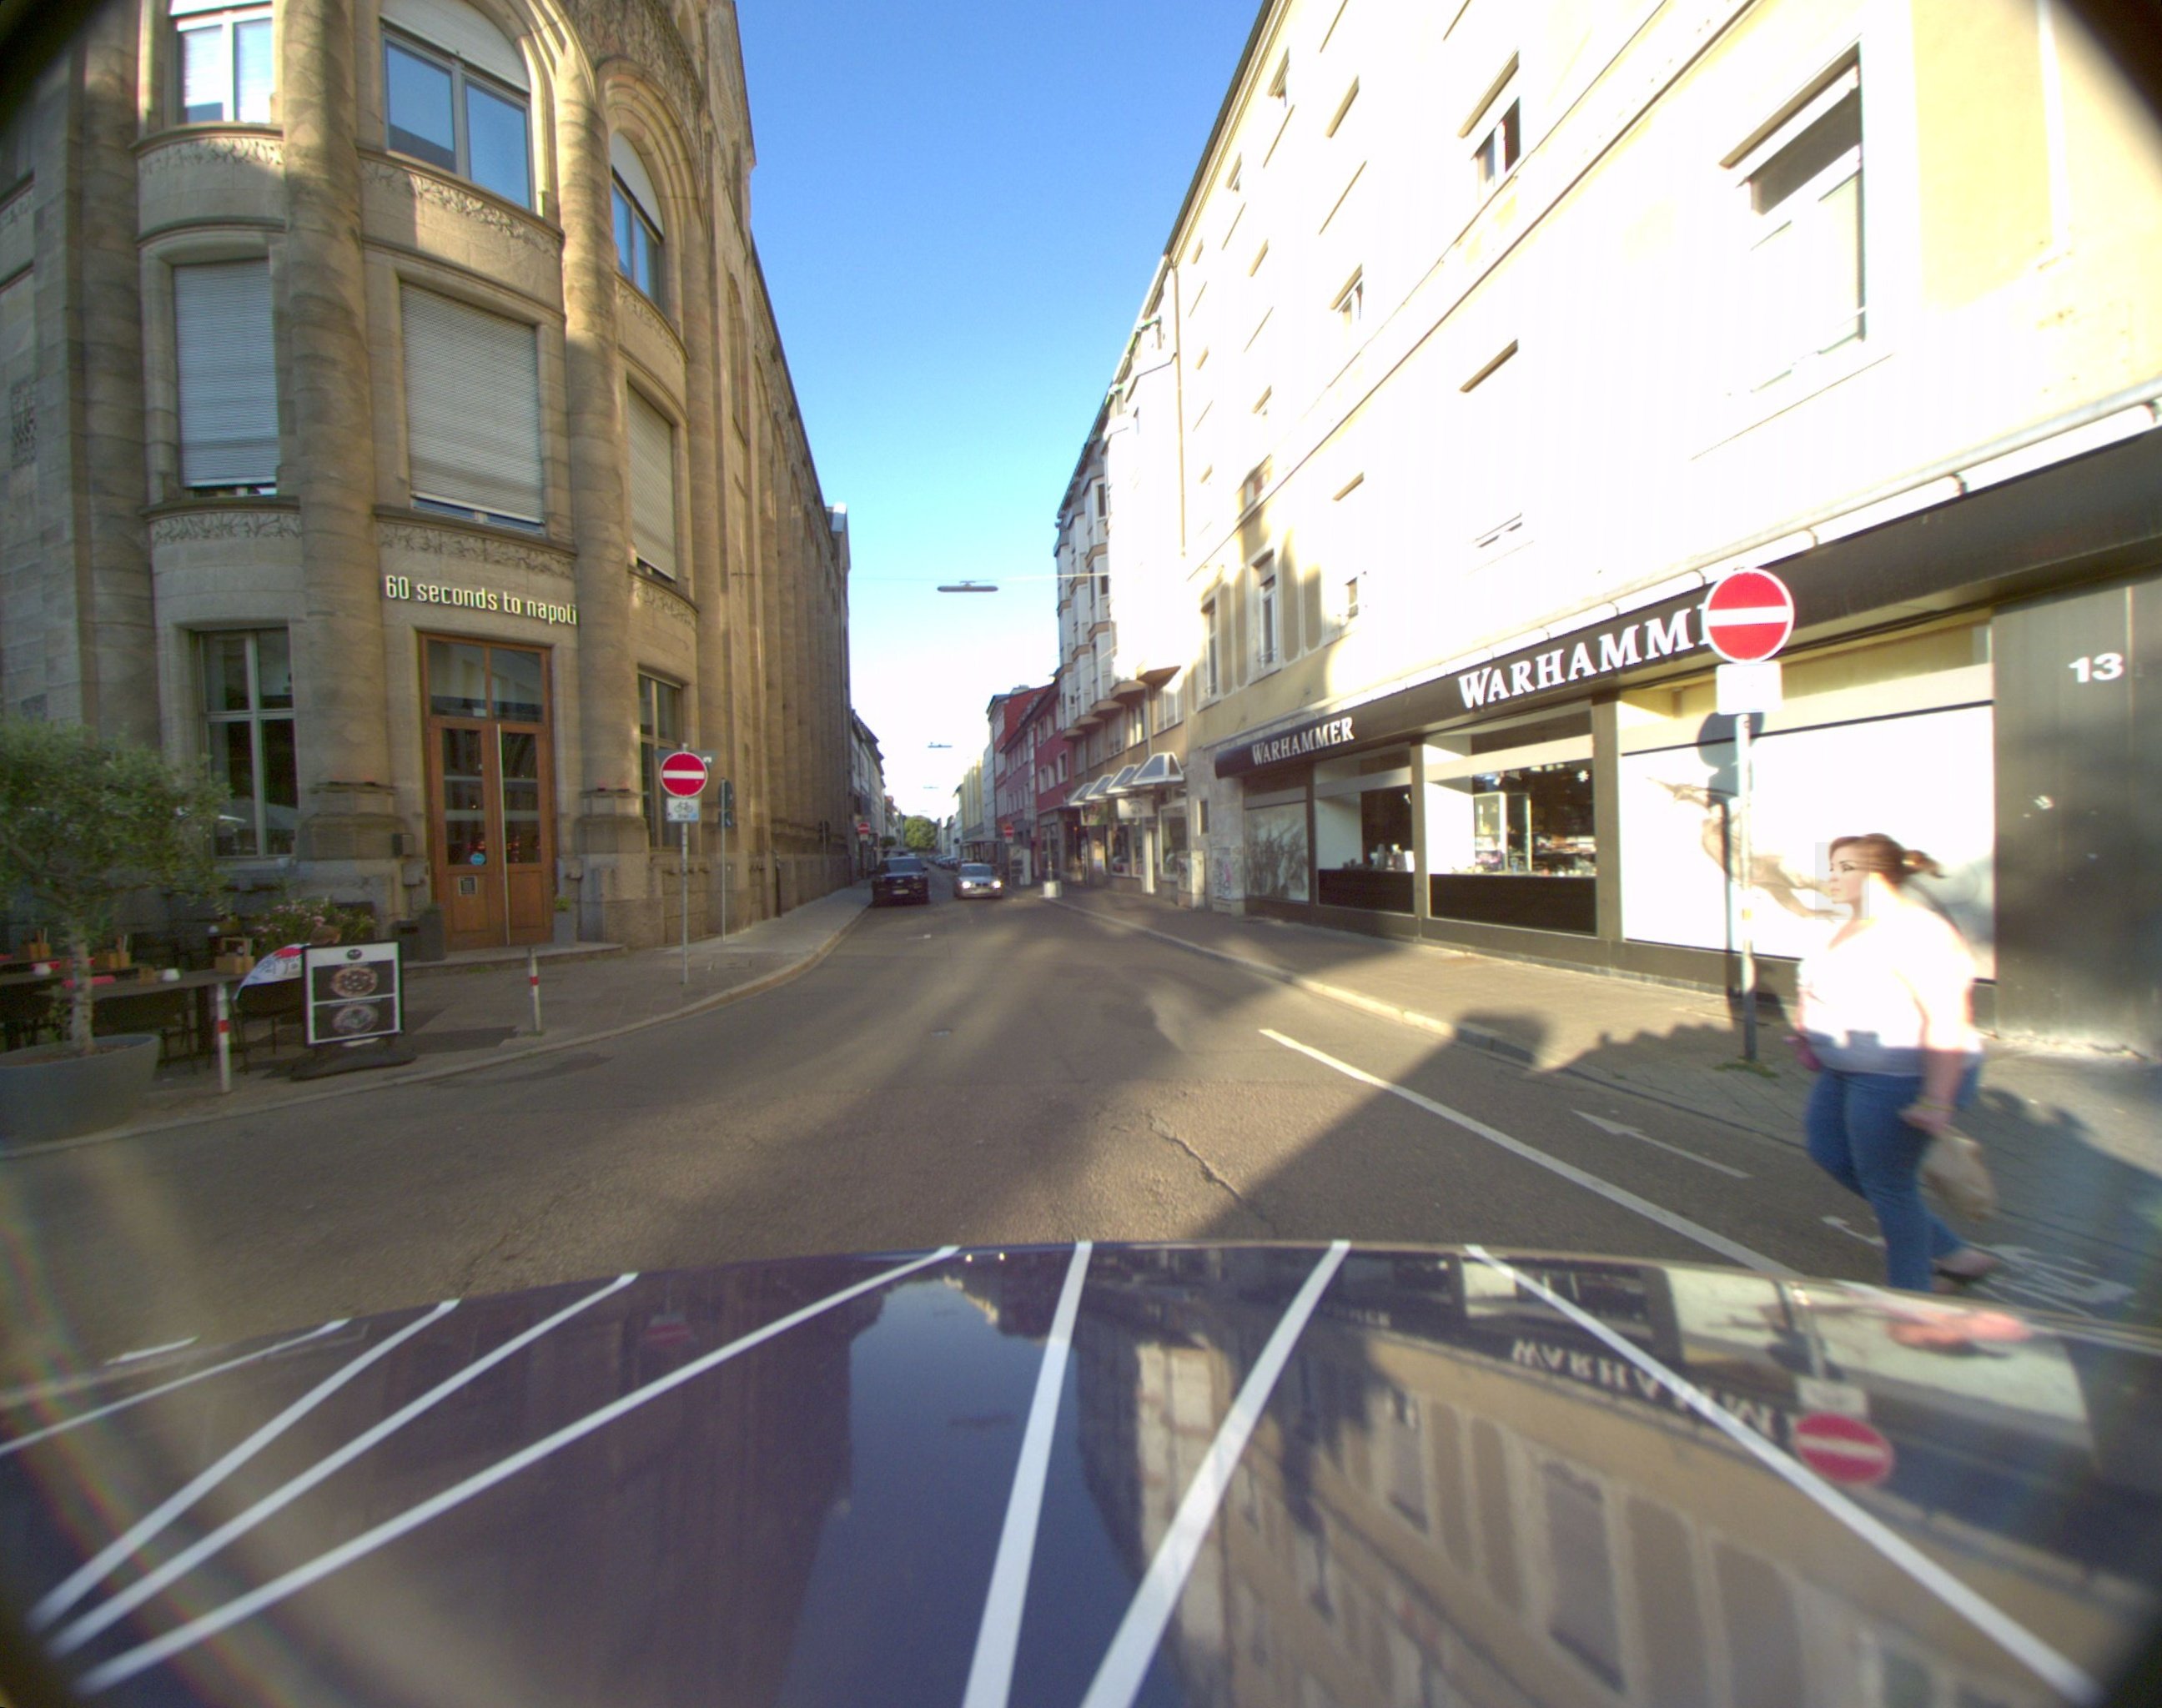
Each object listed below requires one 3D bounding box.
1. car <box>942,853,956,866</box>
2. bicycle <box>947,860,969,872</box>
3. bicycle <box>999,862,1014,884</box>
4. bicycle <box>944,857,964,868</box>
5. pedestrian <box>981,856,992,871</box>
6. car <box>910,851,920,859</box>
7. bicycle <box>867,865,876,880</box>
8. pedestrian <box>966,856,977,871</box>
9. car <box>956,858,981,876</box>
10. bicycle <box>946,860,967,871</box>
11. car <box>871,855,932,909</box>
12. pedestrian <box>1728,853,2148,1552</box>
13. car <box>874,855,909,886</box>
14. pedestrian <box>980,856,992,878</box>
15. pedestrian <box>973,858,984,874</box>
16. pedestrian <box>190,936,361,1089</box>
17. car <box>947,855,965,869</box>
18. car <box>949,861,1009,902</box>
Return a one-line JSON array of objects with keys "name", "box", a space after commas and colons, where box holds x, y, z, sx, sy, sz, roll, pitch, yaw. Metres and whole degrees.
[{"name": "car", "box": [-22.134, 0.964, 126.938, 2.000, 2.030, 4.454, -3, 1, -12]}, {"name": "bicycle", "box": [-14.472, 1.415, 89.591, 2.483, 1.172, 0.783, -3, 2, -6]}, {"name": "bicycle", "box": [-4.137, 1.049, 42.047, 0.545, 1.185, 1.840, -3, 1, -12]}, {"name": "bicycle", "box": [-16.091, 1.078, 96.253, 2.483, 1.322, 0.783, -3, 2, -6]}, {"name": "pedestrian", "box": [-6.895, 0.691, 55.523, 0.603, 1.057, 0.546, -3, 2, -20]}, {"name": "car", "box": [-39.135, 0.200, 179.084, 2.000, 1.884, 4.454, -3, 1, -12]}, {"name": "bicycle", "box": [-16.142, 1.405, 58.513, 0.520, 1.083, 1.750, 1, 0, -12]}, {"name": "pedestrian", "box": [-8.431, 0.716, 58.422, 0.634, 1.061, 0.559, -3, 2, -20]}, {"name": "car", "box": [-9.754, 1.082, 65.734, 1.724, 1.452, 4.130, -3, 1, -14]}, {"name": "bicycle", "box": [-15.299, 1.391, 93.498, 2.483, 1.172, 0.783, -3, 2, -6]}, {"name": "car", "box": [-6.795, 0.985, 28.844, 2.001, 1.773, 4.928, -3, 0, -13]}, {"name": "pedestrian", "box": [2.523, 0.820, 2.295, 0.806, 1.604, 0.732, -3, 2, -41]}, {"name": "car", "box": [-10.948, 0.906, 43.782, 1.780, 1.656, 3.995, -2, 1, -15]}, {"name": "pedestrian", "box": [-6.505, 0.863, 52.021, 0.612, 1.464, 0.546, -3, 2, -20]}, {"name": "pedestrian", "box": [-7.392, 0.856, 54.602, 0.612, 1.057, 0.546, -3, 2, -20]}, {"name": "pedestrian", "box": [-7.220, 1.388, 6.857, 0.607, 1.182, 0.821, -3, 1, -2]}, {"name": "car", "box": [-16.428, 1.040, 99.833, 2.000, 1.667, 4.454, -3, 1, -12]}, {"name": "car", "box": [-4.243, 1.068, 30.976, 2.000, 1.414, 4.454, -3, 0, -12]}]
